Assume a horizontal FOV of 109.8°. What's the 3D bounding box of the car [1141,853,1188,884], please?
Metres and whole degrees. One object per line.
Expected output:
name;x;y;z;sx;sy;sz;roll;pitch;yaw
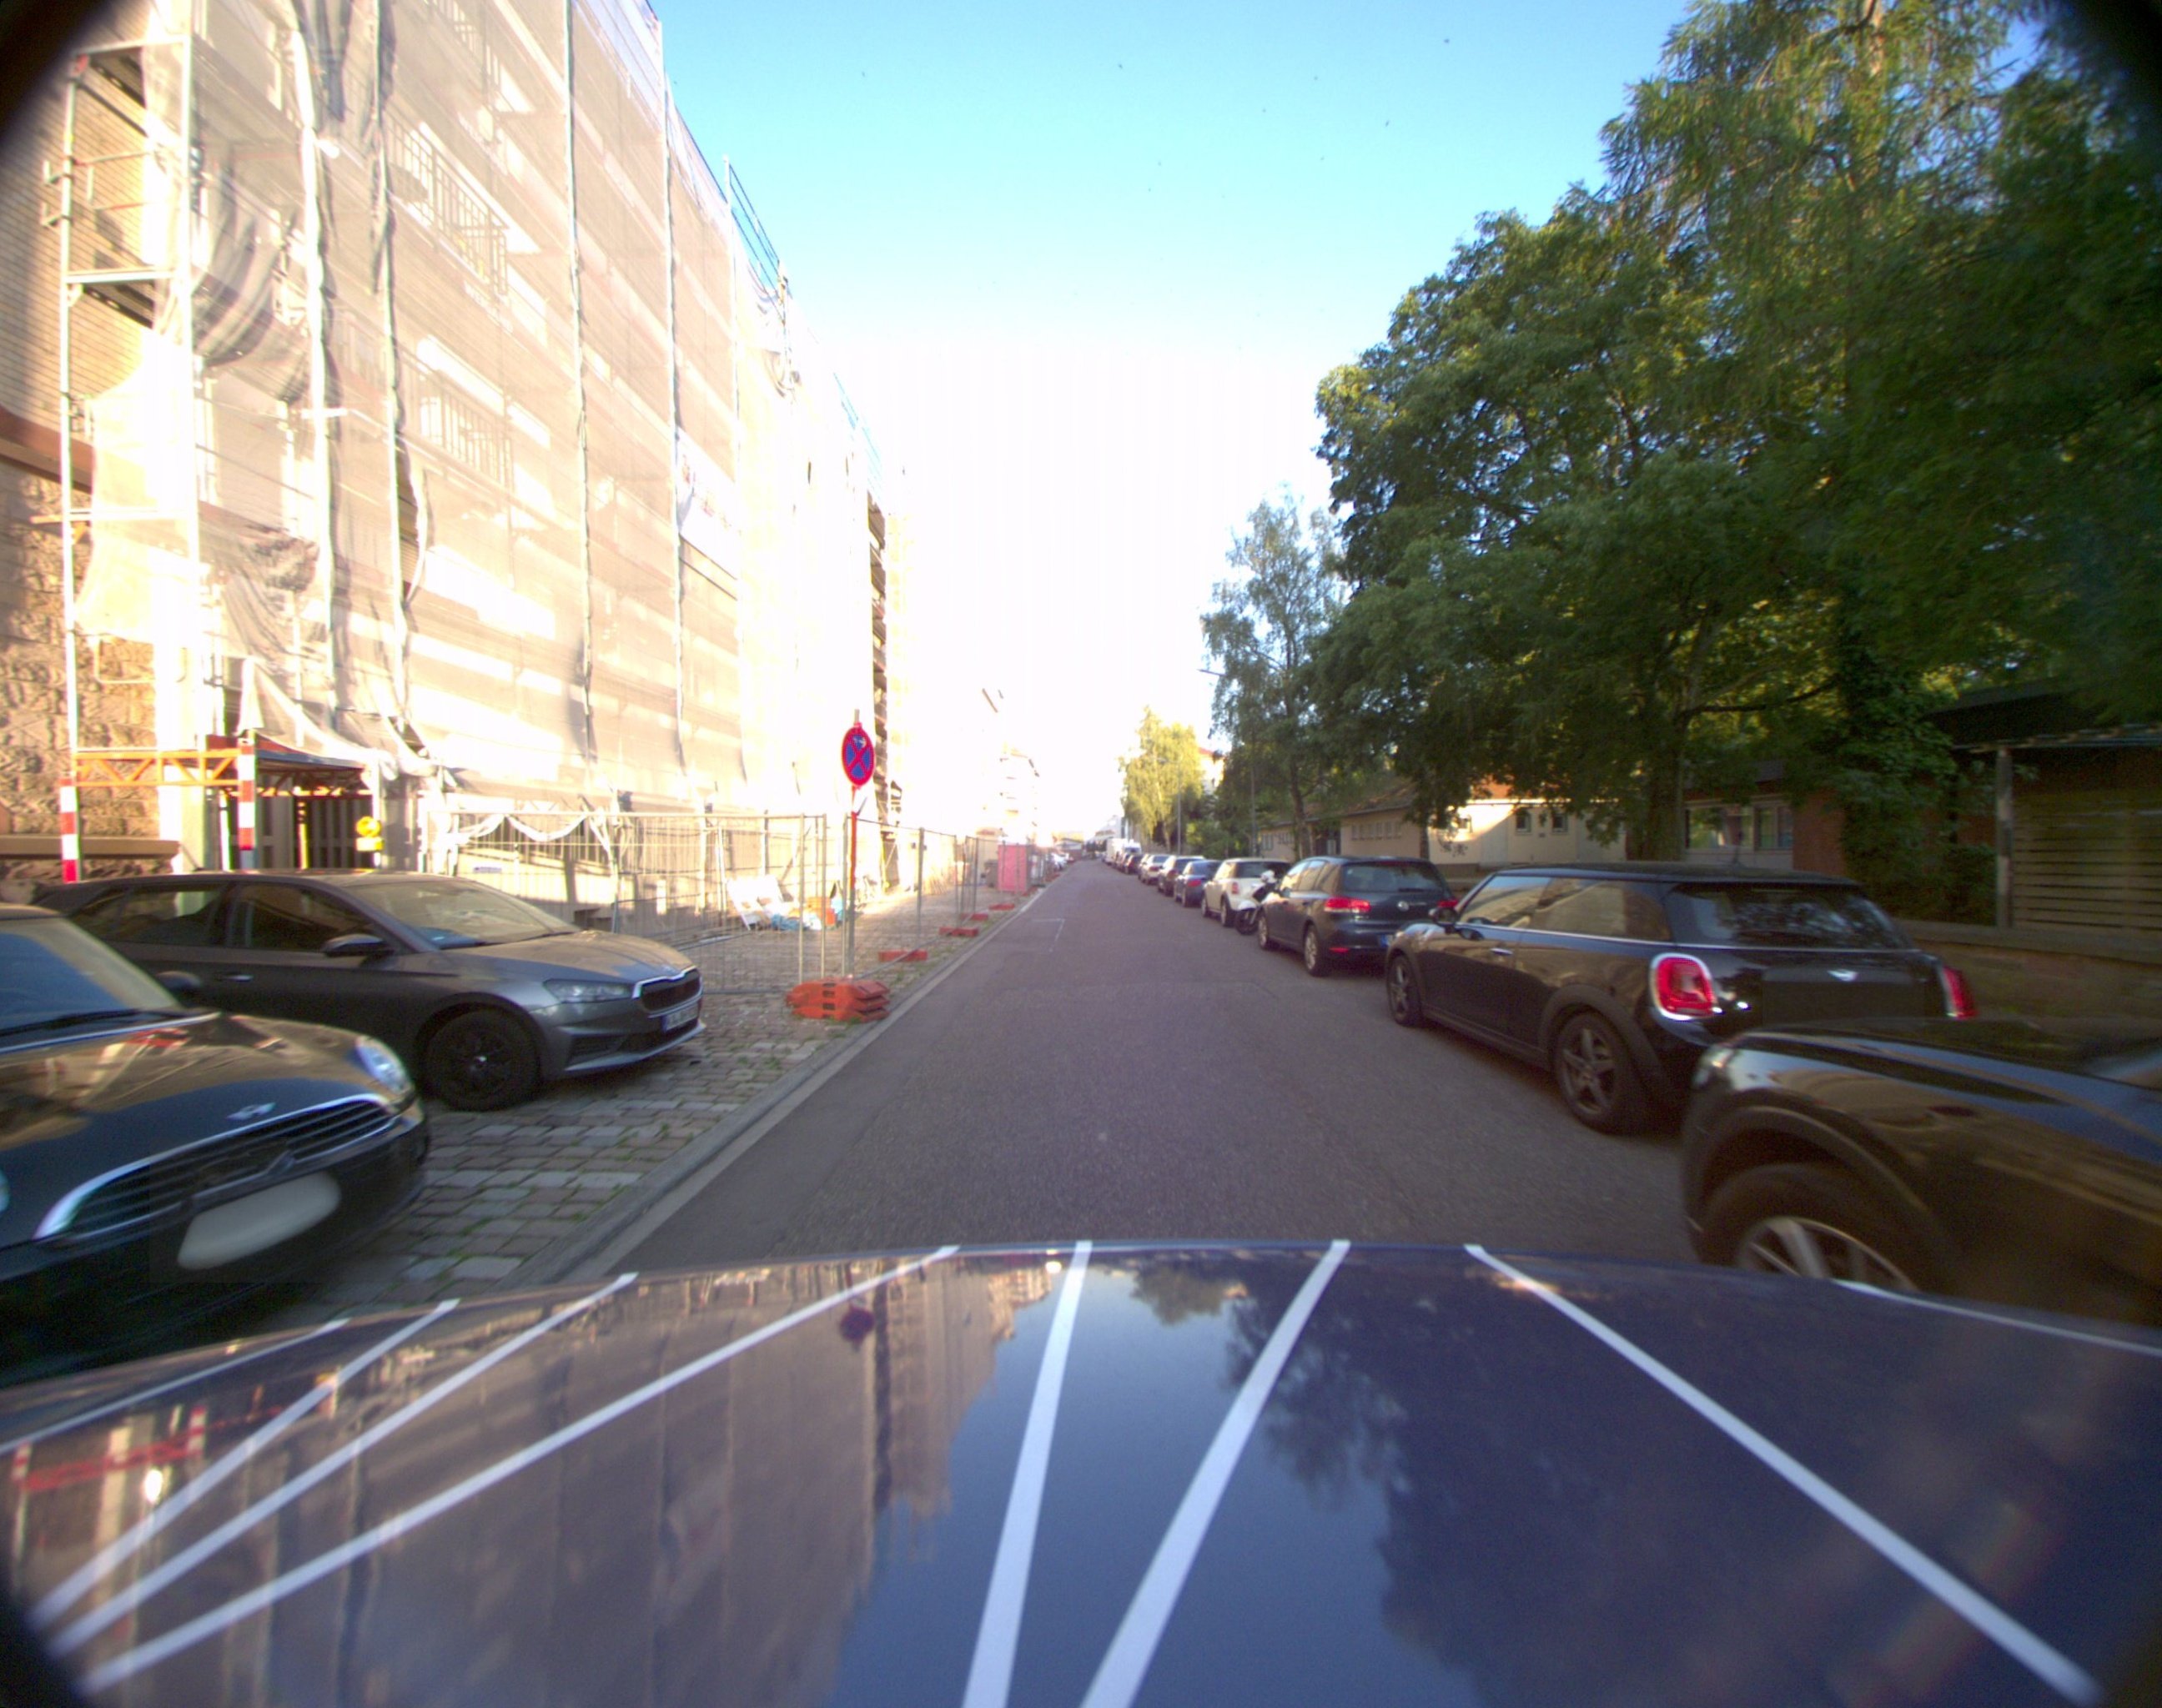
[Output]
car;3.872;0.656;35.934;1.738;1.358;4.291;0;0;0

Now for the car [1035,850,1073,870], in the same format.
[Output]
car;-2.865;0.621;81.907;3.997;2.002;2.000;-2;1;0

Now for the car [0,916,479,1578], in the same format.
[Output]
car;-4.761;0.997;2.404;4.414;1.432;1.685;0;2;3

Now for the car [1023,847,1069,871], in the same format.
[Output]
car;-3.161;0.399;68.962;3.997;2.002;2.000;-2;1;0

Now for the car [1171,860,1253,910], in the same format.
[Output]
car;3.739;0.853;22.315;1.738;1.280;3.804;0;0;0

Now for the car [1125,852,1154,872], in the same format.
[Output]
car;4.121;0.526;54.165;1.738;1.358;4.291;0;0;0

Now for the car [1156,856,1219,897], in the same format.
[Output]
car;3.769;0.754;27.490;1.738;1.358;3.804;0;0;0

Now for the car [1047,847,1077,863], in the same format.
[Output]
car;-2.658;0.164;106.048;3.997;2.002;2.000;-2;1;0

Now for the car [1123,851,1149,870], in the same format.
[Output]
car;4.272;0.477;59.843;1.738;1.502;4.291;0;0;0

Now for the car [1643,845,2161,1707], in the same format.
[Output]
car;2.270;0.804;0.105;1.737;1.622;4.128;0;0;8

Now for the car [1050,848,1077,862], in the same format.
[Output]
car;-2.735;0.087;117.081;3.997;2.002;2.000;-2;1;0

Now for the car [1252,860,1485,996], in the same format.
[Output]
car;3.567;0.829;10.210;1.738;1.438;3.805;0;0;1

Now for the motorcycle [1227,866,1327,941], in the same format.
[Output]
motorcycle;3.505;0.877;13.710;1.596;1.251;0.785;-2;1;3

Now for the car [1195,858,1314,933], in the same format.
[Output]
car;3.678;0.819;16.748;1.738;1.417;3.804;0;0;0

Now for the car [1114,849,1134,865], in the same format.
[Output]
car;4.203;0.309;74.737;1.738;1.502;4.291;0;0;0

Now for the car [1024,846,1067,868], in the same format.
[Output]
car;-3.424;0.280;73.730;3.997;2.002;2.000;-2;1;0

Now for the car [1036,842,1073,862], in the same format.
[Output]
car;-2.944;-0.215;85.380;3.997;2.002;2.000;-2;1;0

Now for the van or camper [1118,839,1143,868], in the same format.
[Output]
van or camper;4.259;-0.060;65.523;1.825;2.400;4.291;0;0;0

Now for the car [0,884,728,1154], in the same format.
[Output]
car;-4.837;0.976;5.169;4.059;1.432;1.685;0;2;0

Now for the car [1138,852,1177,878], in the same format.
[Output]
car;4.175;0.593;42.096;1.738;1.358;4.291;0;0;0

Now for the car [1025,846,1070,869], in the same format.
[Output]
car;-3.096;0.296;71.179;3.997;2.002;2.000;-2;1;0

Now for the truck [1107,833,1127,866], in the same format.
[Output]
truck;4.348;-0.567;92.671;2.182;3.860;4.926;-2;1;1

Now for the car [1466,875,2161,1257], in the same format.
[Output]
car;4.062;0.892;4.734;1.623;1.417;3.415;0;0;1

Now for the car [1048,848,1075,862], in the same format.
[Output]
car;-2.940;0.122;114.656;3.997;2.002;2.000;-2;1;0

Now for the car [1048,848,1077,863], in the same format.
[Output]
car;-2.612;0.172;109.070;3.997;2.002;2.000;-2;1;0
